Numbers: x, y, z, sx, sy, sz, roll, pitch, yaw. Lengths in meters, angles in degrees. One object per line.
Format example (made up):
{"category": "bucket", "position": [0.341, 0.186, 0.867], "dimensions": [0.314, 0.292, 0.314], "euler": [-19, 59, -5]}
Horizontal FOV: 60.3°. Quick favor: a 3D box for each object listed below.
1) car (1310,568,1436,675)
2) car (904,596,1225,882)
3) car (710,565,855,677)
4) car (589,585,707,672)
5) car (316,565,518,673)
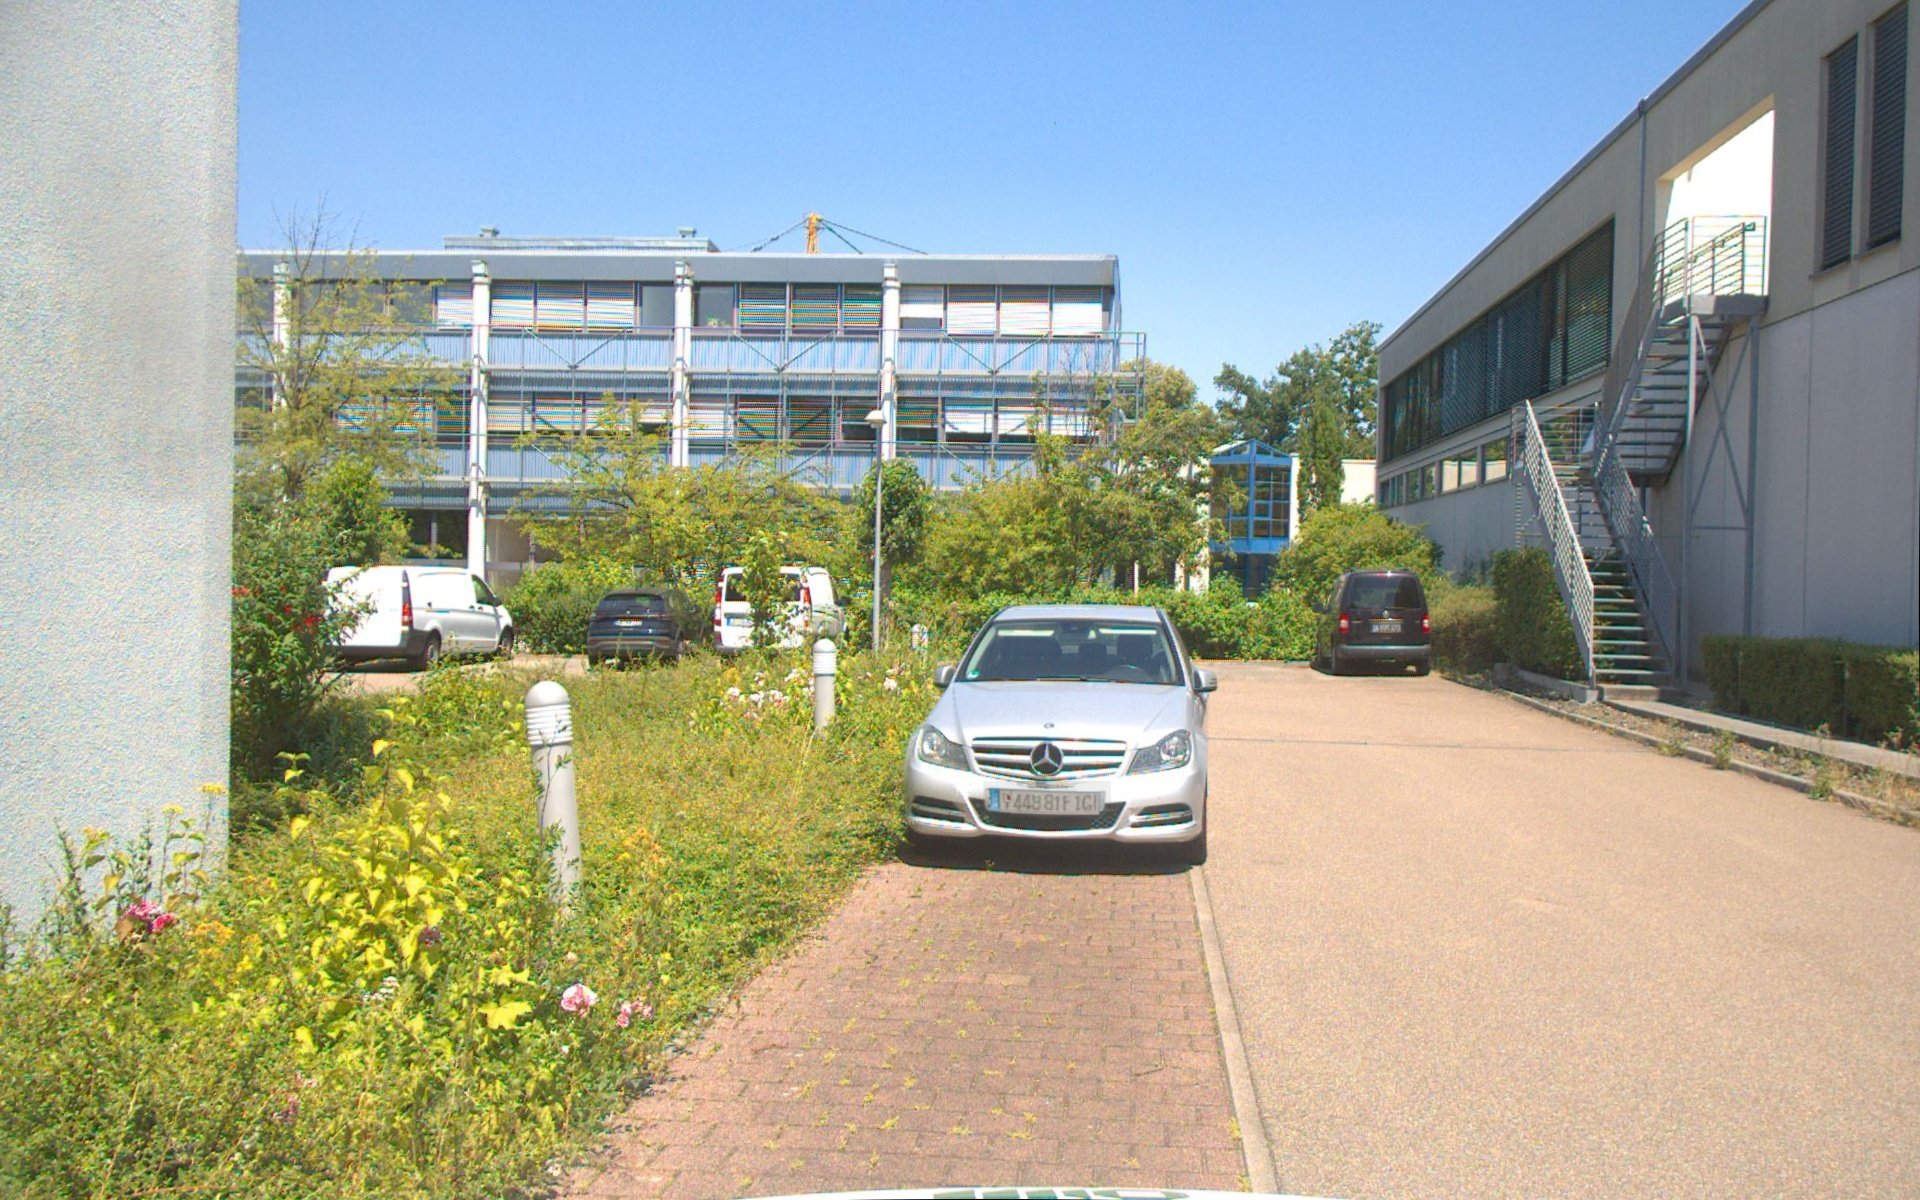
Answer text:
{"category": "car", "position": [7.662, 0.348, 30.969], "dimensions": [1.706, 1.869, 4.003], "euler": [0, 1, 5]}
{"category": "car", "position": [0.848, 0.718, 10.785], "dimensions": [1.692, 1.482, 4.151], "euler": [0, 0, 9]}
{"category": "car", "position": [-3.254, 0.312, 31.260], "dimensions": [1.872, 1.938, 4.811], "euler": [0, 1, 4]}
{"category": "car", "position": [-5.942, 0.498, 31.874], "dimensions": [1.719, 1.502, 3.998], "euler": [0, 1, -3]}
{"category": "car", "position": [-10.362, 0.290, 31.982], "dimensions": [1.841, 1.924, 4.808], "euler": [0, 1, 7]}
